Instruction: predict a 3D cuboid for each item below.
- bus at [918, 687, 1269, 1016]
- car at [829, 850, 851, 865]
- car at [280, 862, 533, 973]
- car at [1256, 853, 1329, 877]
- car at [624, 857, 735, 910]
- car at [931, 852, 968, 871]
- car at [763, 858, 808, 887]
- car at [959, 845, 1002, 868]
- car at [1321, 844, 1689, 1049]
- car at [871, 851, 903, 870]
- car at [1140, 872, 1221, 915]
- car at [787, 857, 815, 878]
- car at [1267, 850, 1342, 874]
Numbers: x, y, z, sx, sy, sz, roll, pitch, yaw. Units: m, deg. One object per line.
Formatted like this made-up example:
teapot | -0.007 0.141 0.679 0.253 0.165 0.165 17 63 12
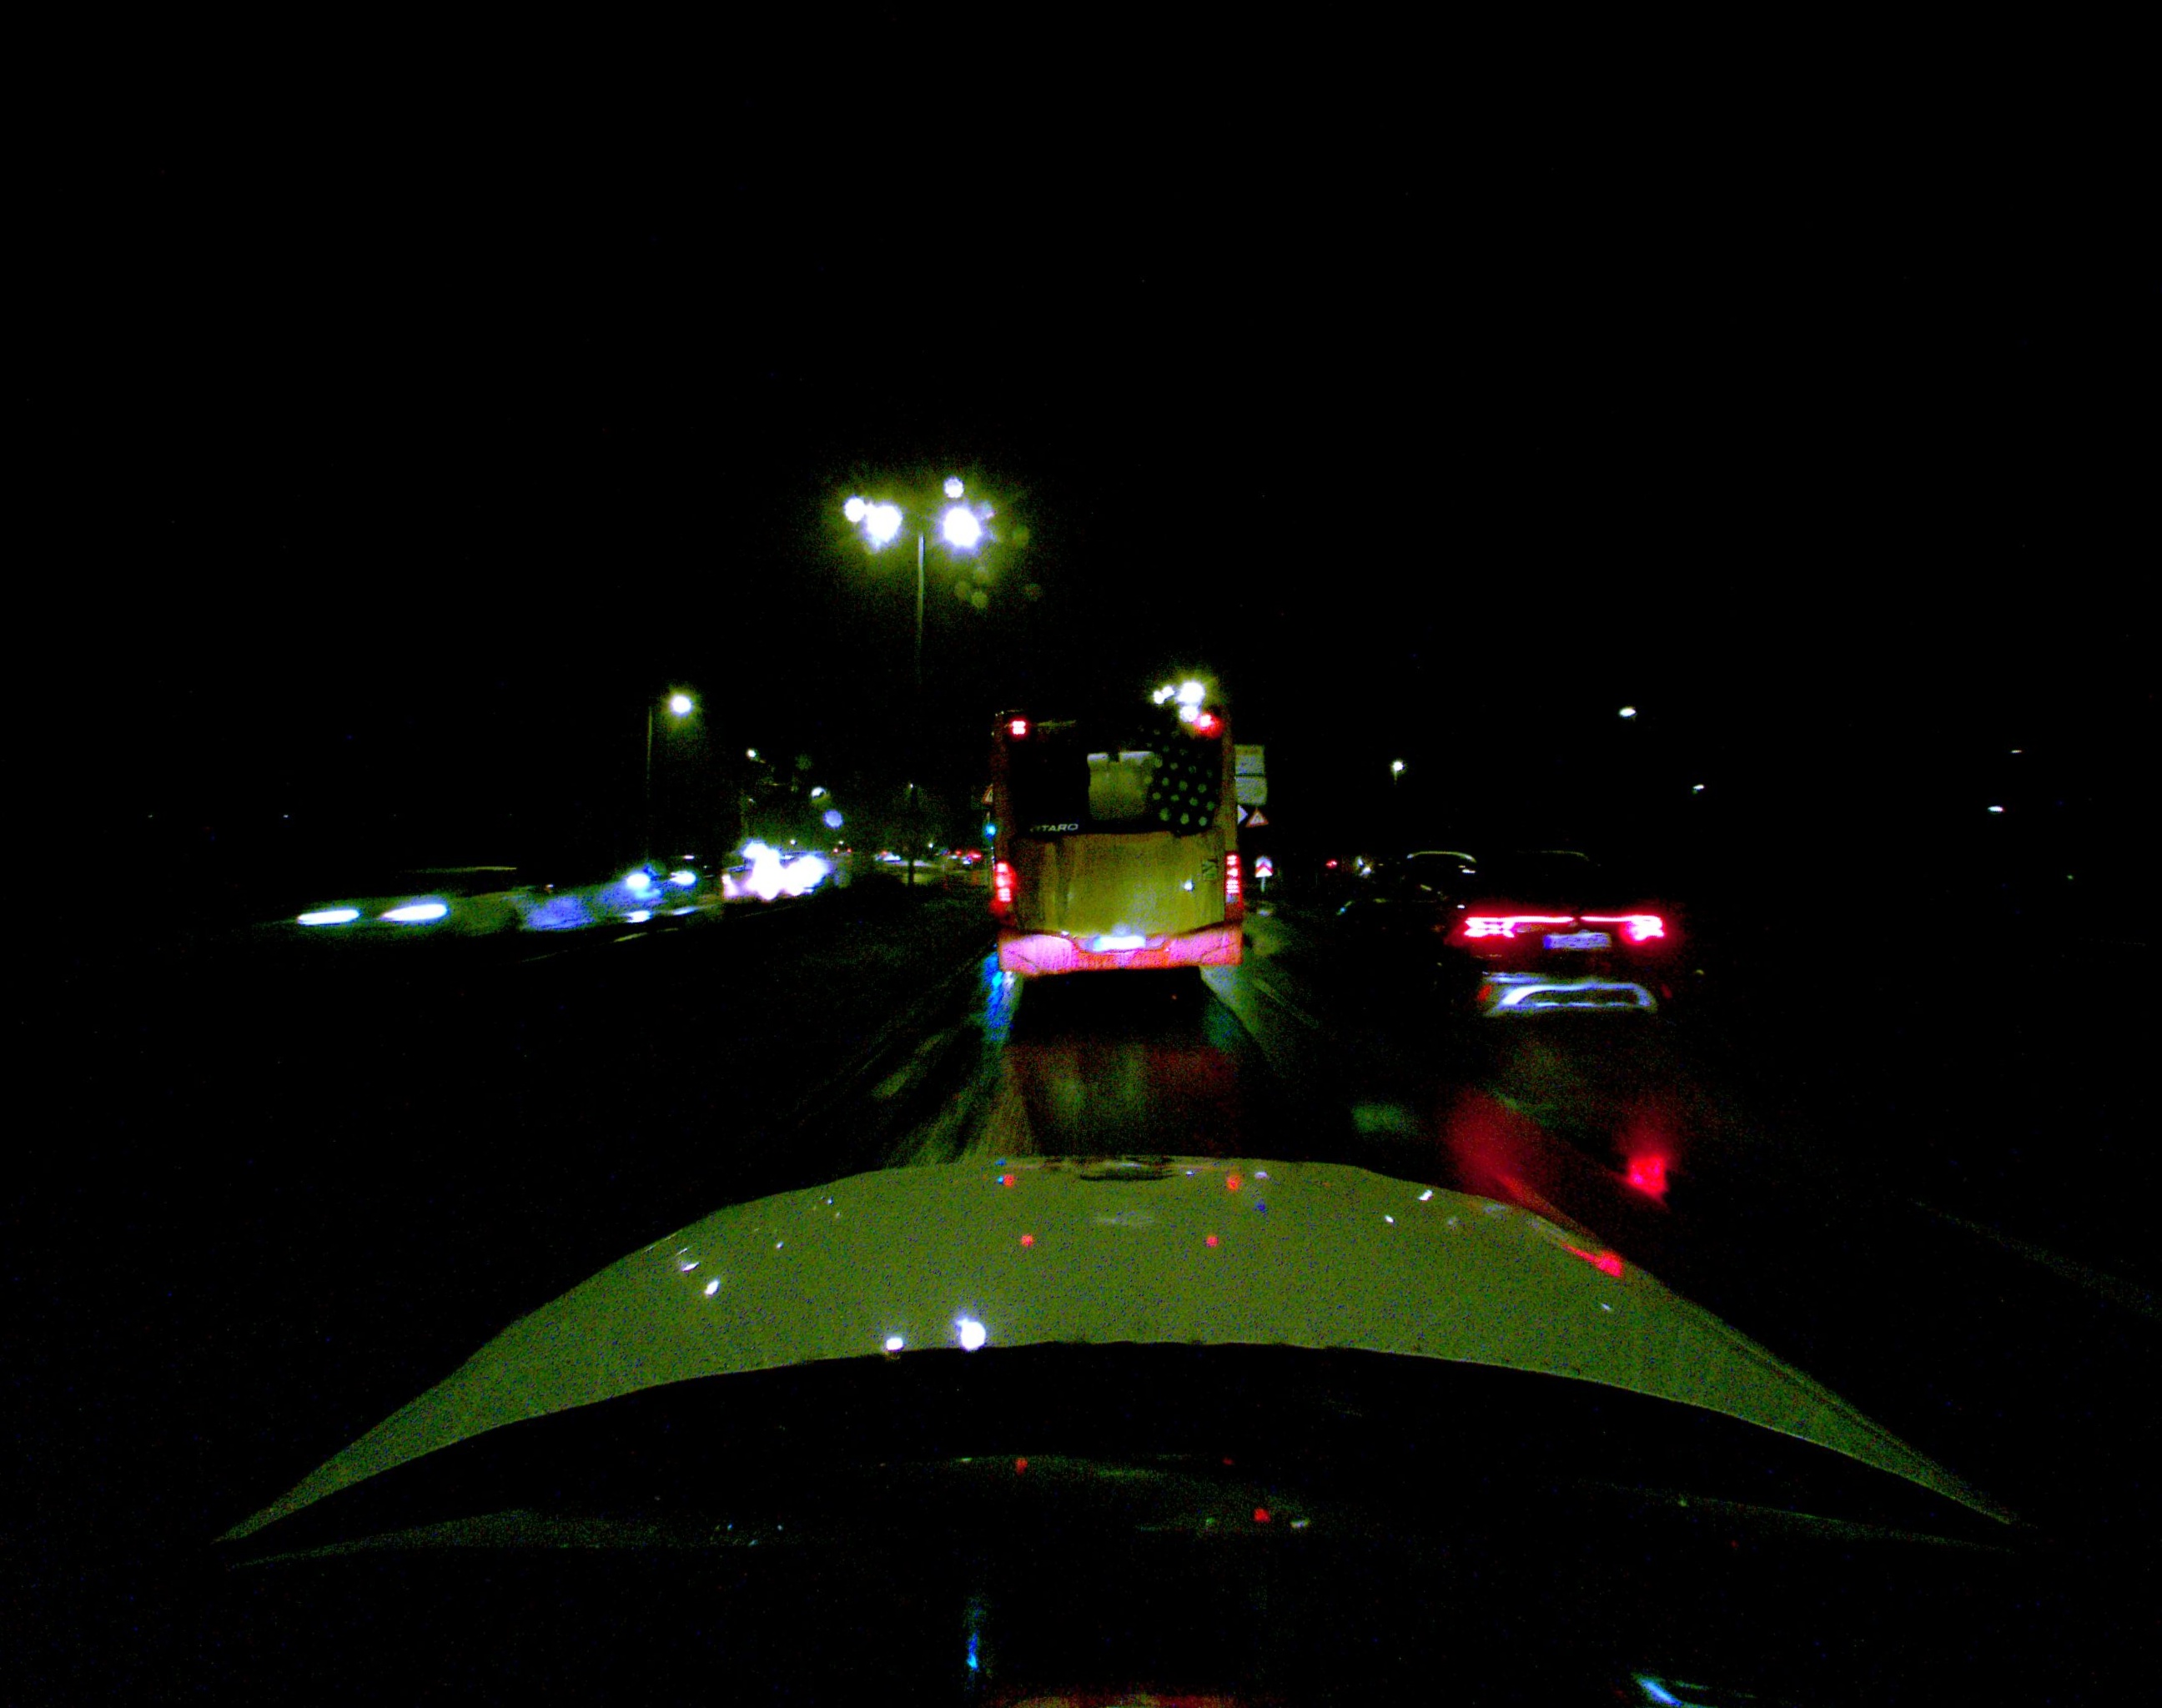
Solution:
bus | 0.030 -0.102 12.471 3.276 3.050 9.539 -1 1 -1
car | -27.821 0.395 93.947 2.002 1.721 3.970 1 -1 -22
car | -11.368 0.967 14.083 1.849 1.571 3.495 -1 1 -10
car | 12.988 0.677 50.094 4.034 1.345 1.745 0 1 -4
car | -13.500 0.942 27.697 1.771 1.593 4.553 -1 -1 -4
car | -11.697 0.667 72.120 1.828 1.618 3.959 1 -1 -32
car | -16.738 1.045 46.330 1.735 1.495 3.926 -3 0 -11
car | -7.413 0.230 59.811 1.826 1.618 3.964 1 -1 -27
car | 3.752 0.723 8.071 1.671 1.521 3.961 0 -1 1
car | -18.933 0.624 79.462 2.100 1.644 3.697 4 -2 -27
car | 3.344 1.308 28.097 1.686 1.330 3.946 0 -1 -10
car | -21.454 0.979 62.531 1.794 1.456 4.551 -3 1 -17
car | 14.897 0.512 54.449 4.474 1.519 1.855 0 1 -4
